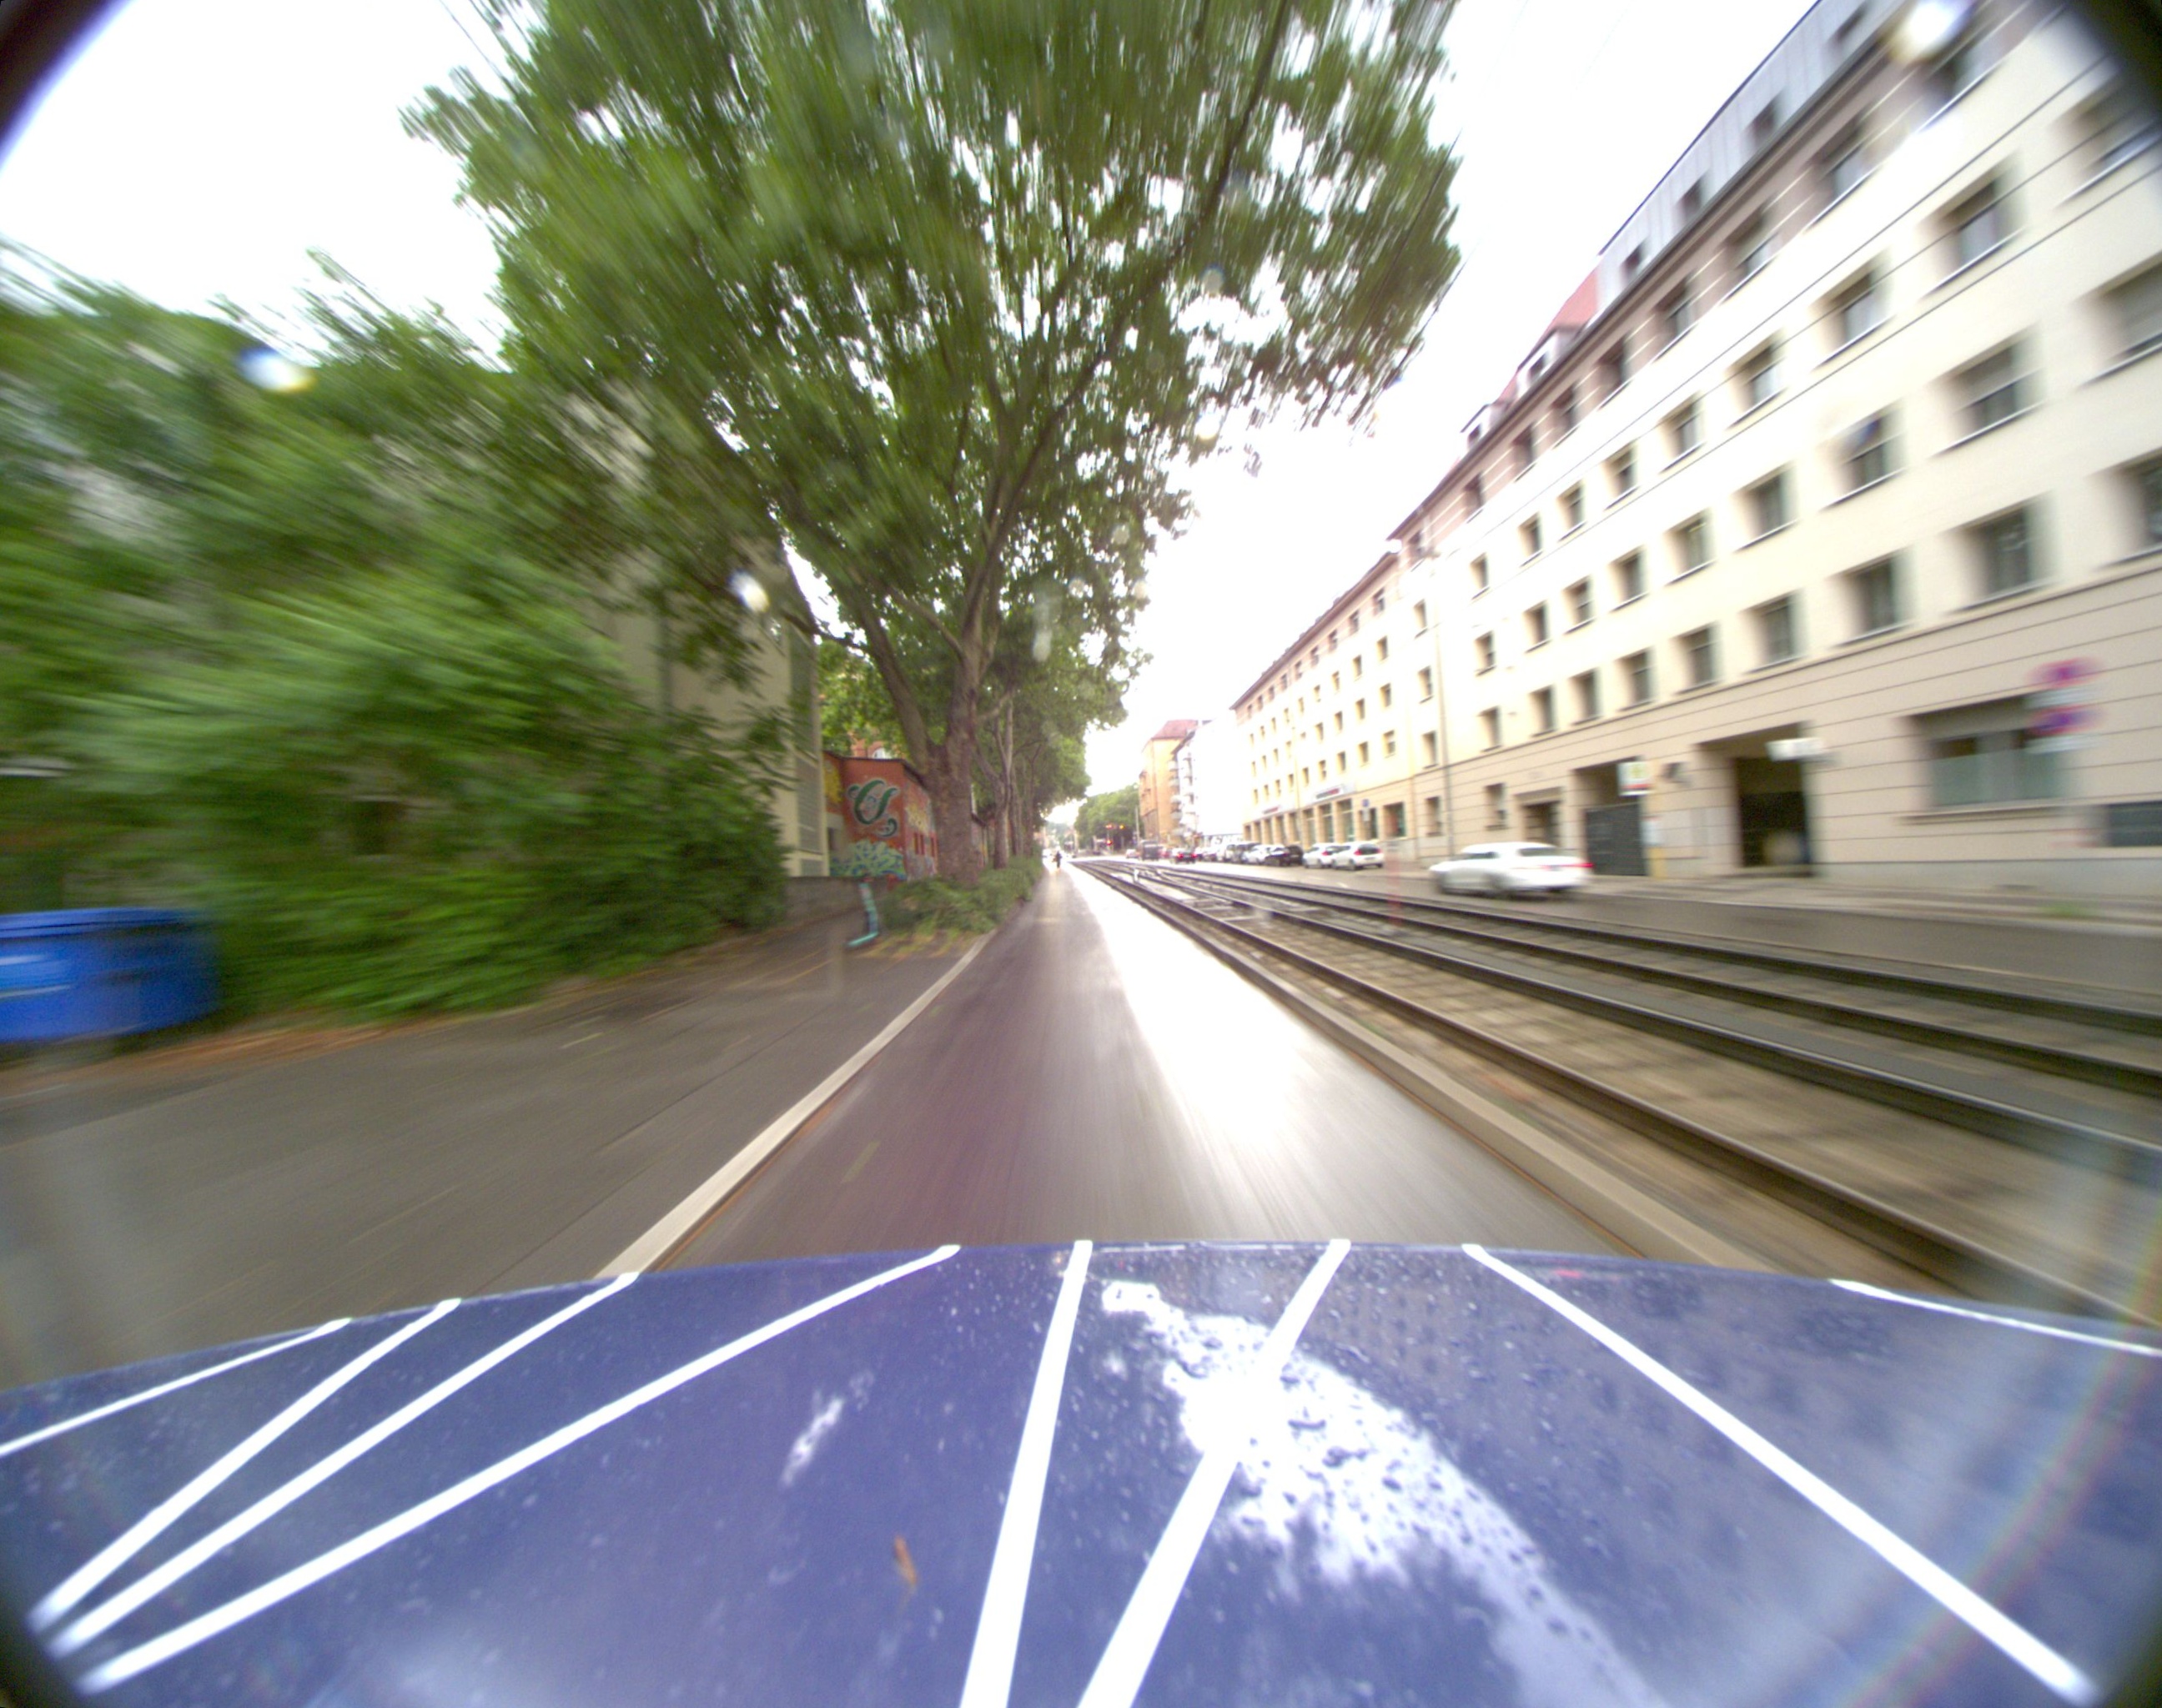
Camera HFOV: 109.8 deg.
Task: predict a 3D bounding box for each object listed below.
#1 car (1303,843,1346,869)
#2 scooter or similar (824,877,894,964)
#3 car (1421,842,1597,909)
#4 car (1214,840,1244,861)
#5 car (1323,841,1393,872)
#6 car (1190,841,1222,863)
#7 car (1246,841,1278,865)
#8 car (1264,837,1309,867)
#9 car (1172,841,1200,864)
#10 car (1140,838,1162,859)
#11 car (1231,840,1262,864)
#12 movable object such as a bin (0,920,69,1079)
[{"bbox_3d":[14.473,0.098,45.327,1.326,1.476,3.189,-2,1,-4],"label":"car"},{"bbox_3d":[-3.507,1.021,12.099,0.400,1.186,1.363,-1,4,13],"label":"scooter or similar"},{"bbox_3d":[11.241,0.502,20.466,1.691,1.528,5.015,-2,0,-3],"label":"car"},{"bbox_3d":[13.349,-0.327,68.874,1.727,1.798,3.590,-2,1,-4],"label":"car"},{"bbox_3d":[14.865,0.090,41.010,2.030,1.533,3.998,-2,1,-4],"label":"car"},{"bbox_3d":[12.175,-0.227,74.265,2.030,2.002,4.225,-2,1,-4],"label":"car"},{"bbox_3d":[13.759,-0.102,57.882,1.377,1.743,3.404,-2,1,-4],"label":"car"},{"bbox_3d":[14.097,-0.173,52.332,1.729,1.949,4.297,-2,1,-2],"label":"car"},{"bbox_3d":[9.782,-0.176,71.070,1.949,2.002,3.999,-2,1,-1],"label":"car"},{"bbox_3d":[8.639,-0.700,94.536,2.184,2.420,4.748,-2,1,-1],"label":"car"},{"bbox_3d":[13.590,-0.204,62.685,1.557,1.872,4.040,-2,1,-1],"label":"car"},{"bbox_3d":[-10.390,1.341,6.760,1.286,1.392,1.073,-1,1,1],"label":"movable object such as a bin"}]
